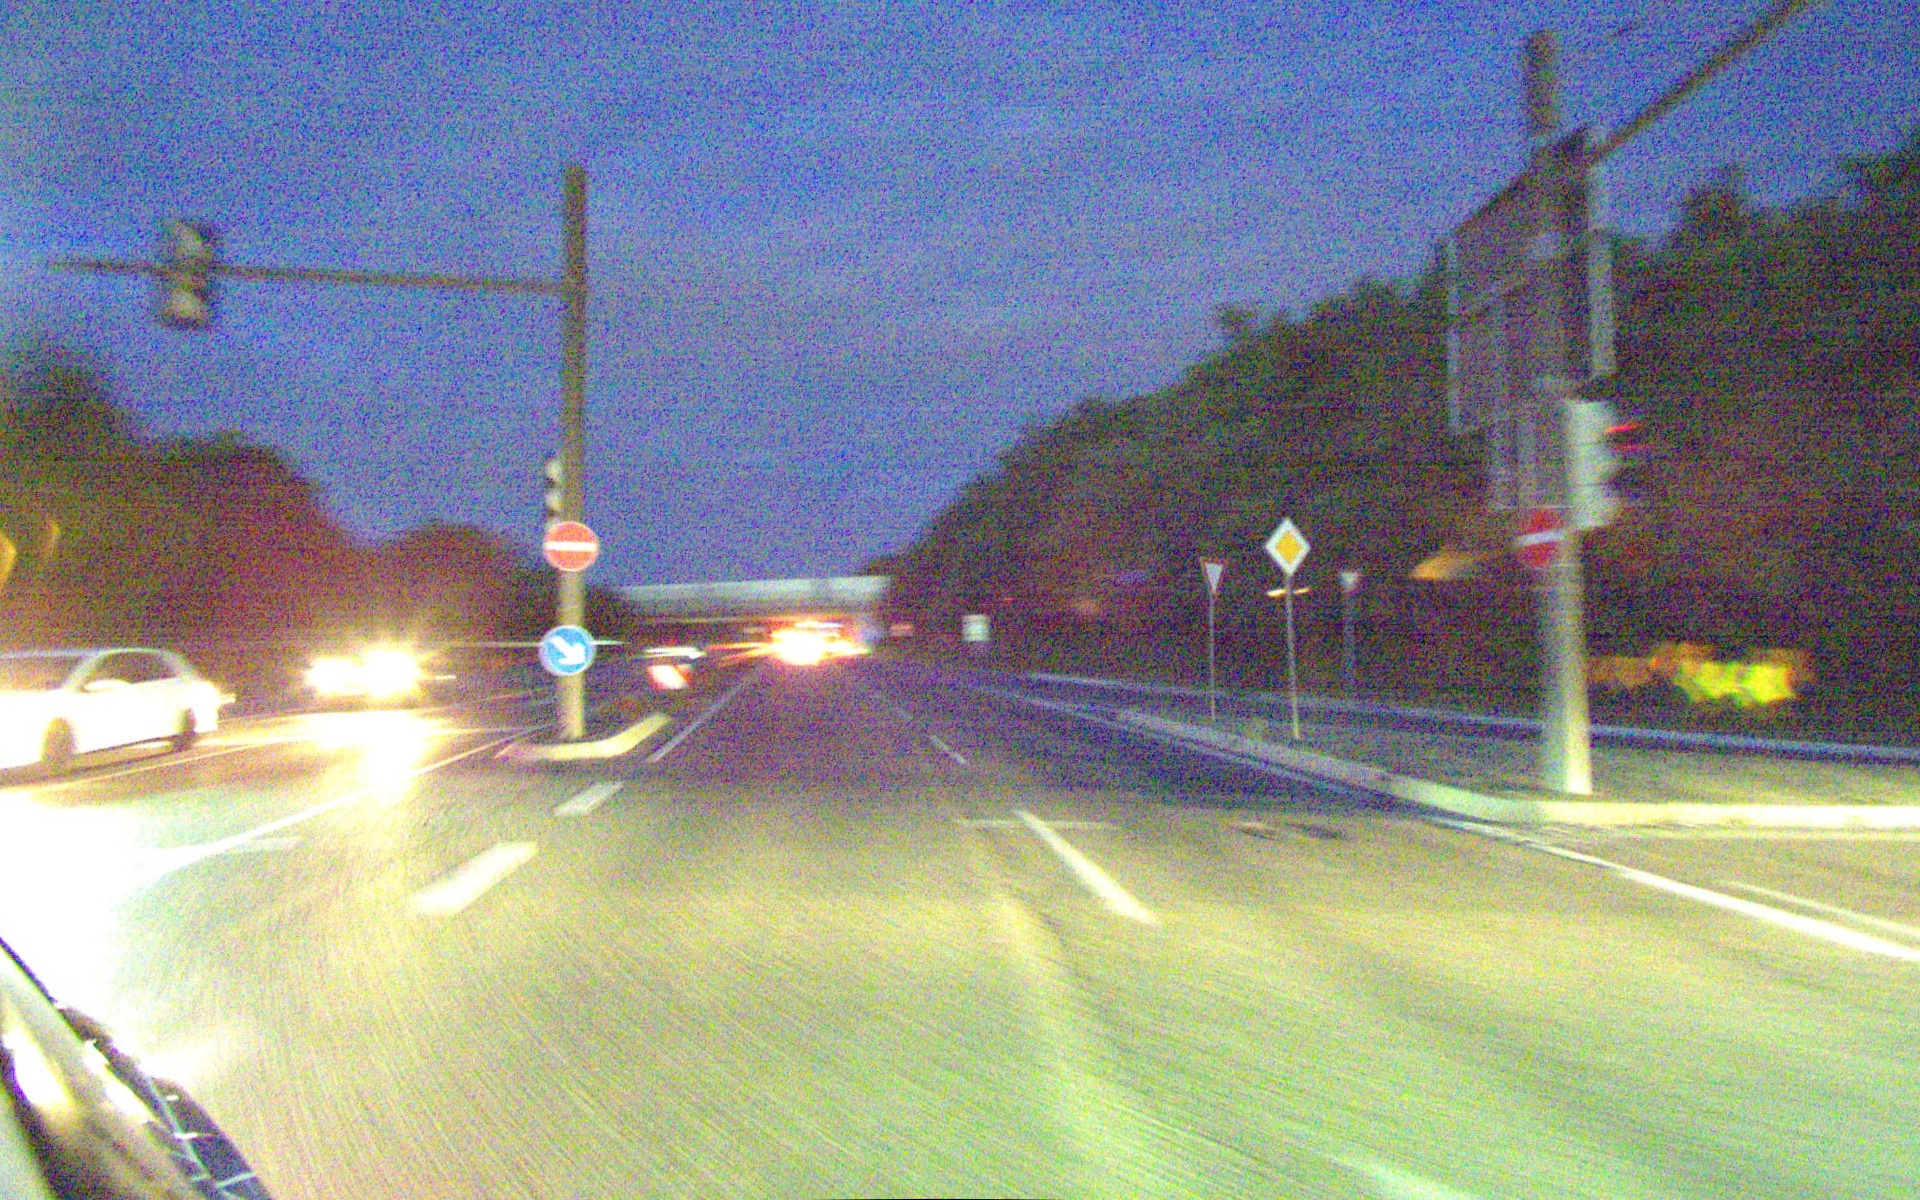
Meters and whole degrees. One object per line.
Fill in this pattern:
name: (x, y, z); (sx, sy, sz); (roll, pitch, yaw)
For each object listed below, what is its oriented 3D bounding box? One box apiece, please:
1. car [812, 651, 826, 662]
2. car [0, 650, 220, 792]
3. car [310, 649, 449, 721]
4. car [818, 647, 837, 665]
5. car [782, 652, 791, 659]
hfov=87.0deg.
car: (-22.362, 8.970, 160.500); (2.094, 1.643, 4.707); (0, -3, -9)
car: (-11.153, 1.379, 12.349); (1.735, 1.470, 4.200); (-1, -3, -9)
car: (-13.045, 1.862, 22.955); (1.631, 1.462, 3.496); (-1, -3, -9)
car: (-11.781, 4.983, 89.961); (1.525, 1.531, 3.522); (2, -3, -9)
car: (-36.698, 11.791, 214.369); (1.901, 1.531, 4.008); (0, -3, -10)
